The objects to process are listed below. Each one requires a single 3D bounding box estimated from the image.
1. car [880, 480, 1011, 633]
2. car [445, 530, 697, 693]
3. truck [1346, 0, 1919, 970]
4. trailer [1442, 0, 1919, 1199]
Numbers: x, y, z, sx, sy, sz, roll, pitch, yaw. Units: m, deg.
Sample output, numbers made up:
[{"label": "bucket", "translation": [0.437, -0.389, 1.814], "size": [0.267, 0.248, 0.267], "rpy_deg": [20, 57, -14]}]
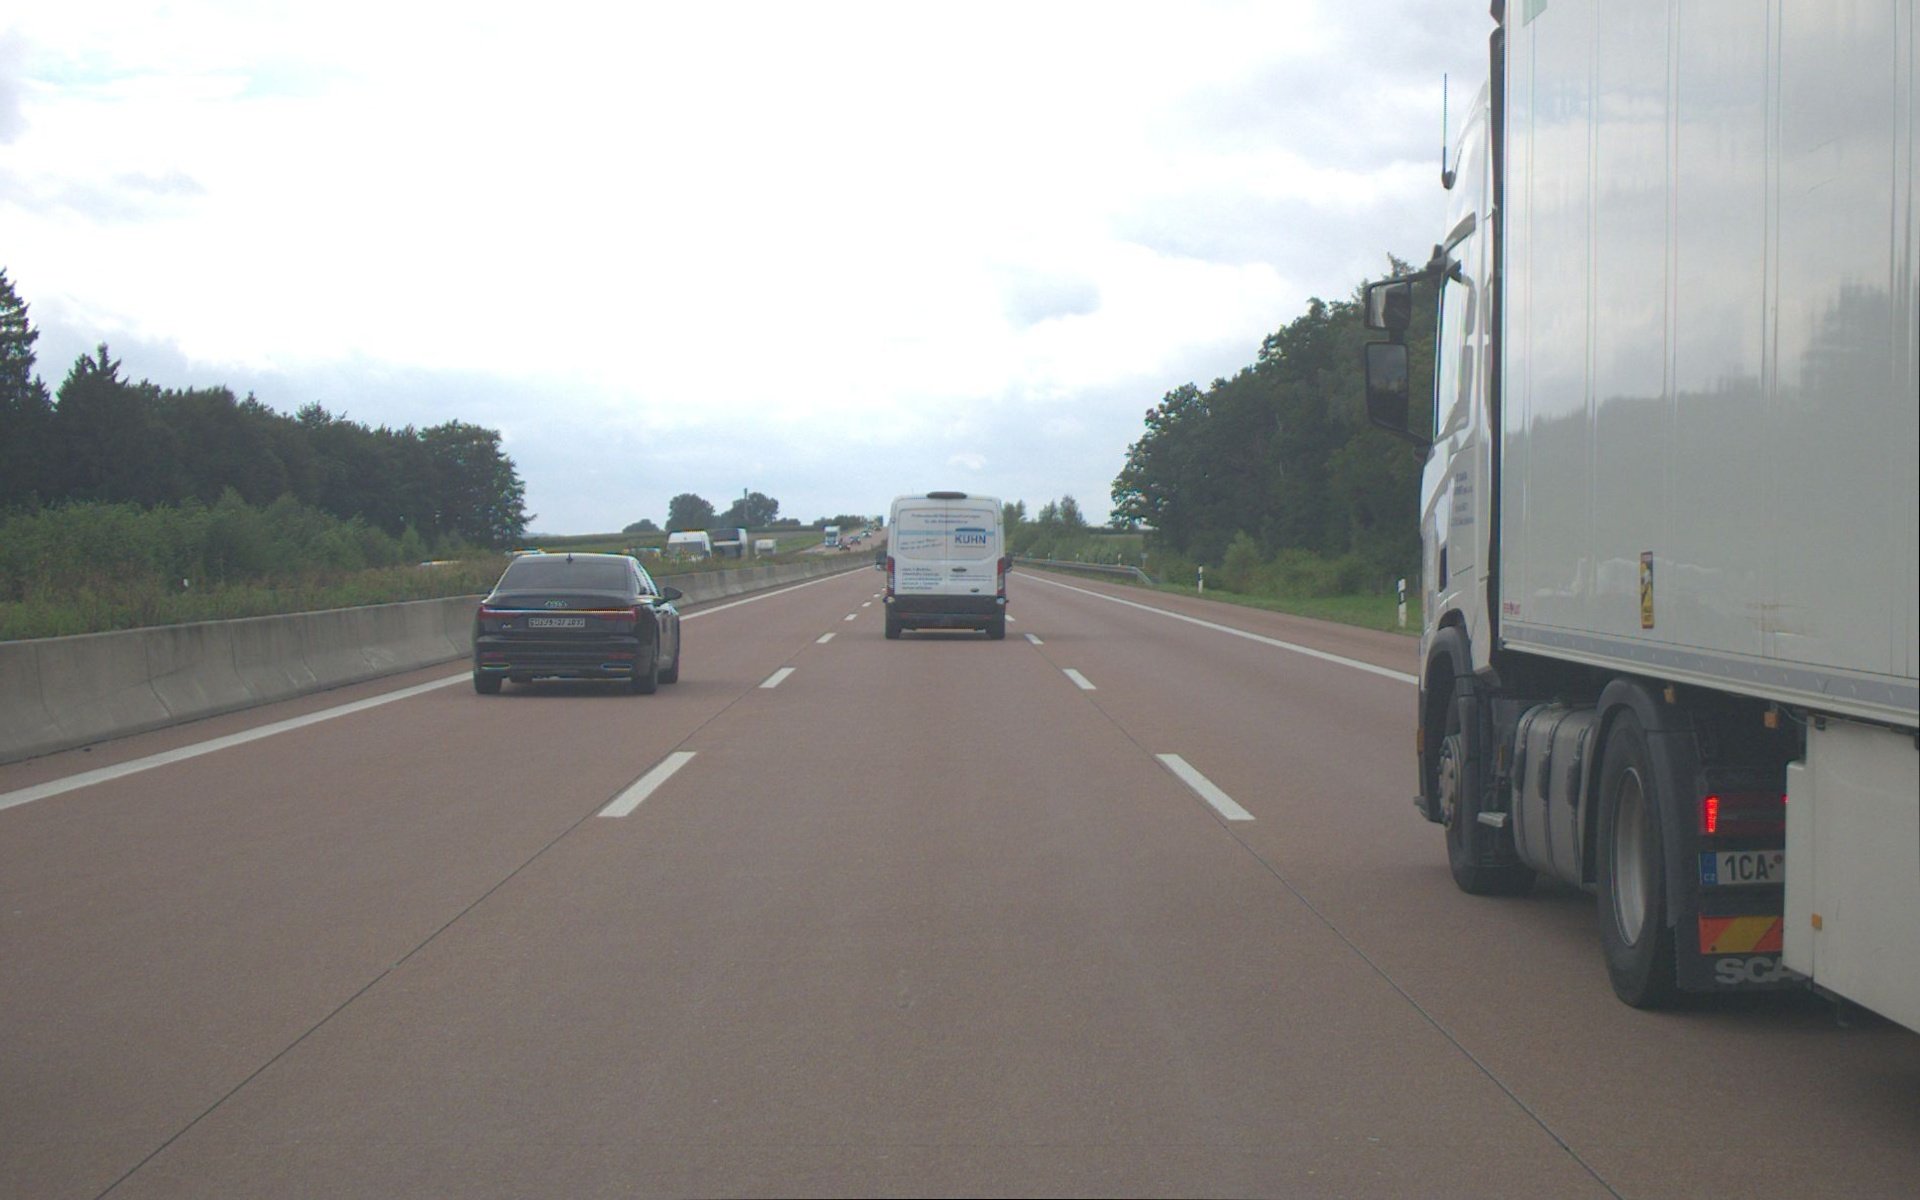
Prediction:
[{"label": "car", "translation": [-0.247, -0.796, 59.756], "size": [2.137, 2.498, 7.132], "rpy_deg": [0, 1, 0]}, {"label": "car", "translation": [-4.036, 0.058, 36.545], "size": [2.085, 1.545, 5.675], "rpy_deg": [1, 1, -1]}, {"label": "truck", "translation": [3.437, -0.904, 14.517], "size": [2.921, 4.279, 5.335], "rpy_deg": [0, 1, -1]}, {"label": "trailer", "translation": [3.542, -0.772, 7.288], "size": [2.921, 4.279, 13.615], "rpy_deg": [0, 1, -1]}]
